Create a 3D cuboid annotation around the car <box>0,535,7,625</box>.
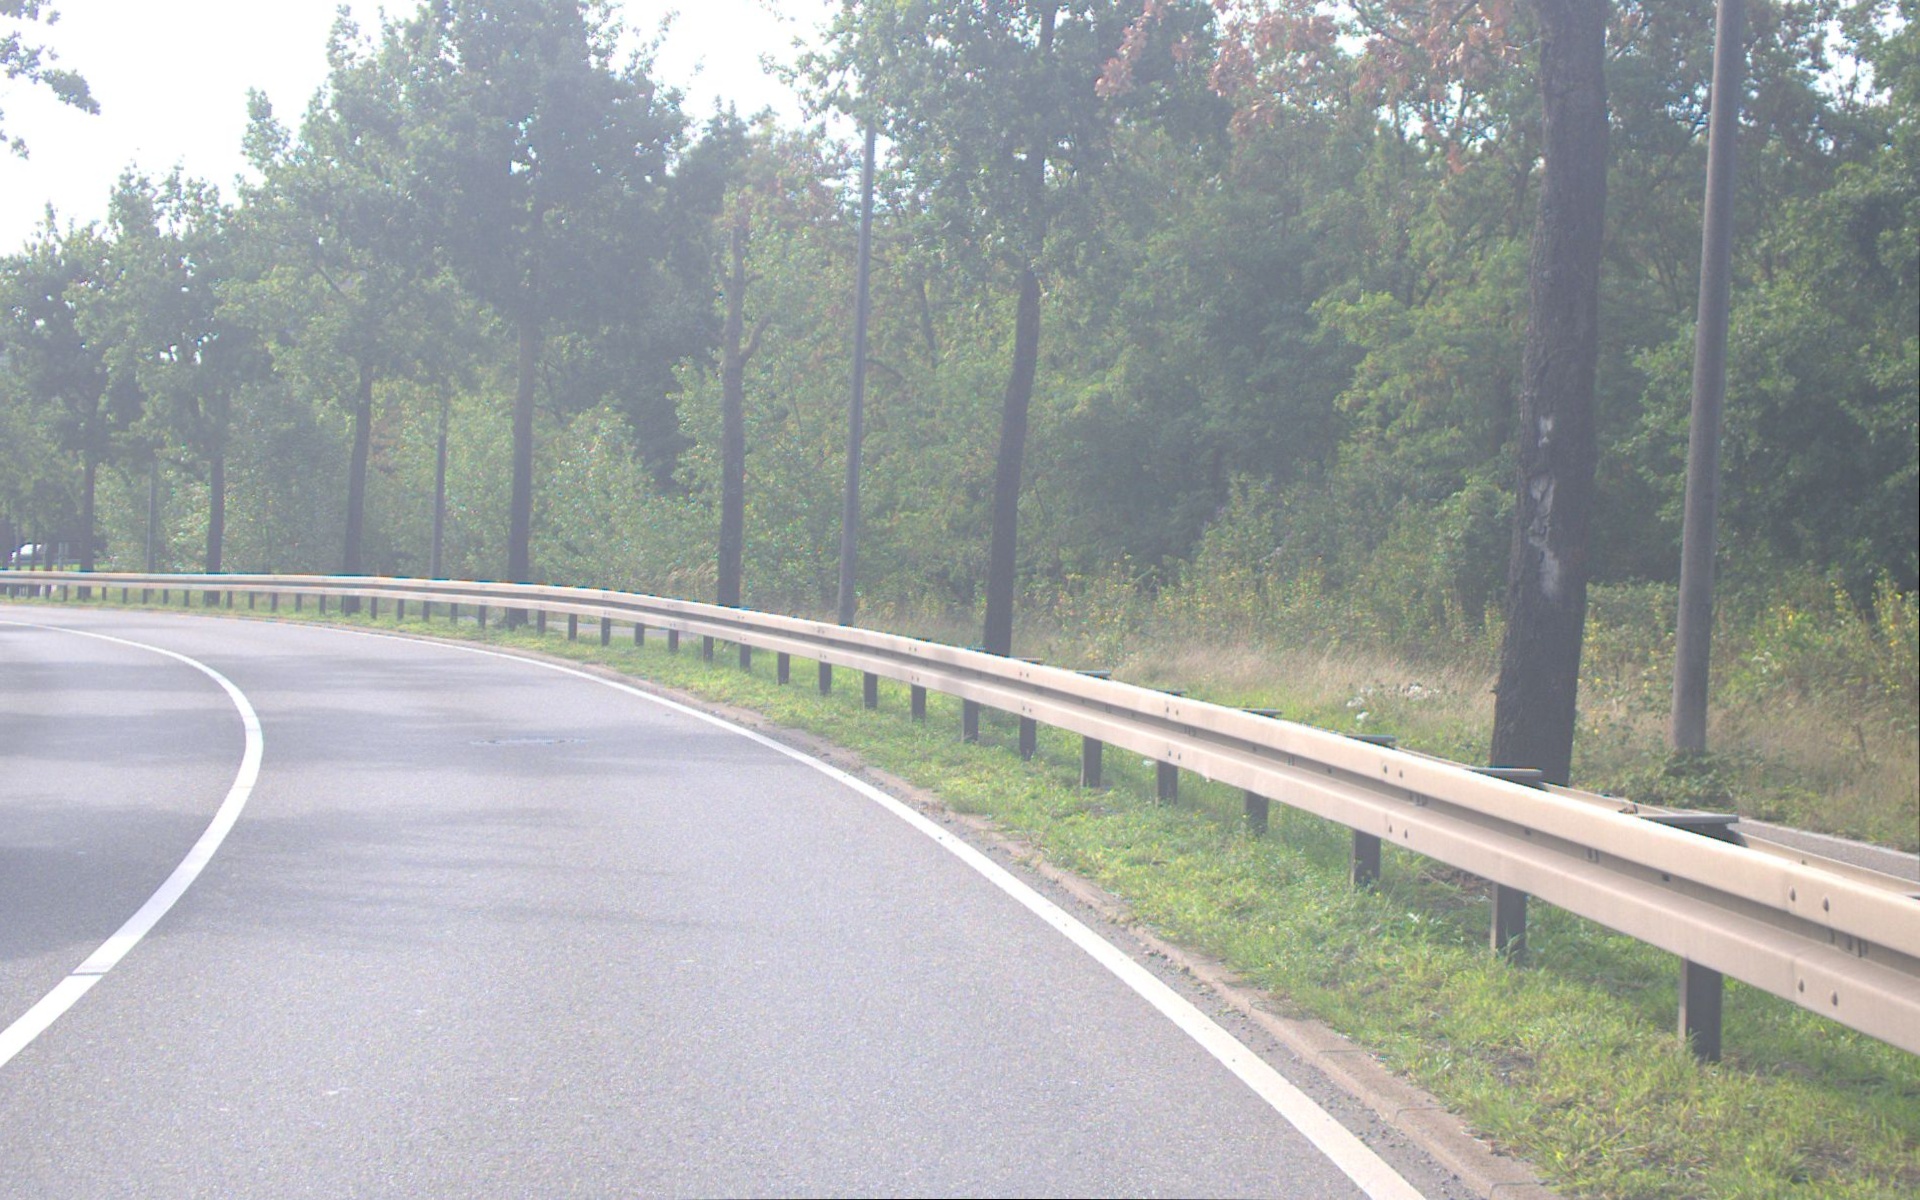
[{"bbox_3d":[-16.596,-0.347,56.364,1.799,1.420,3.873,0,1,-17],"label":"car"}]
